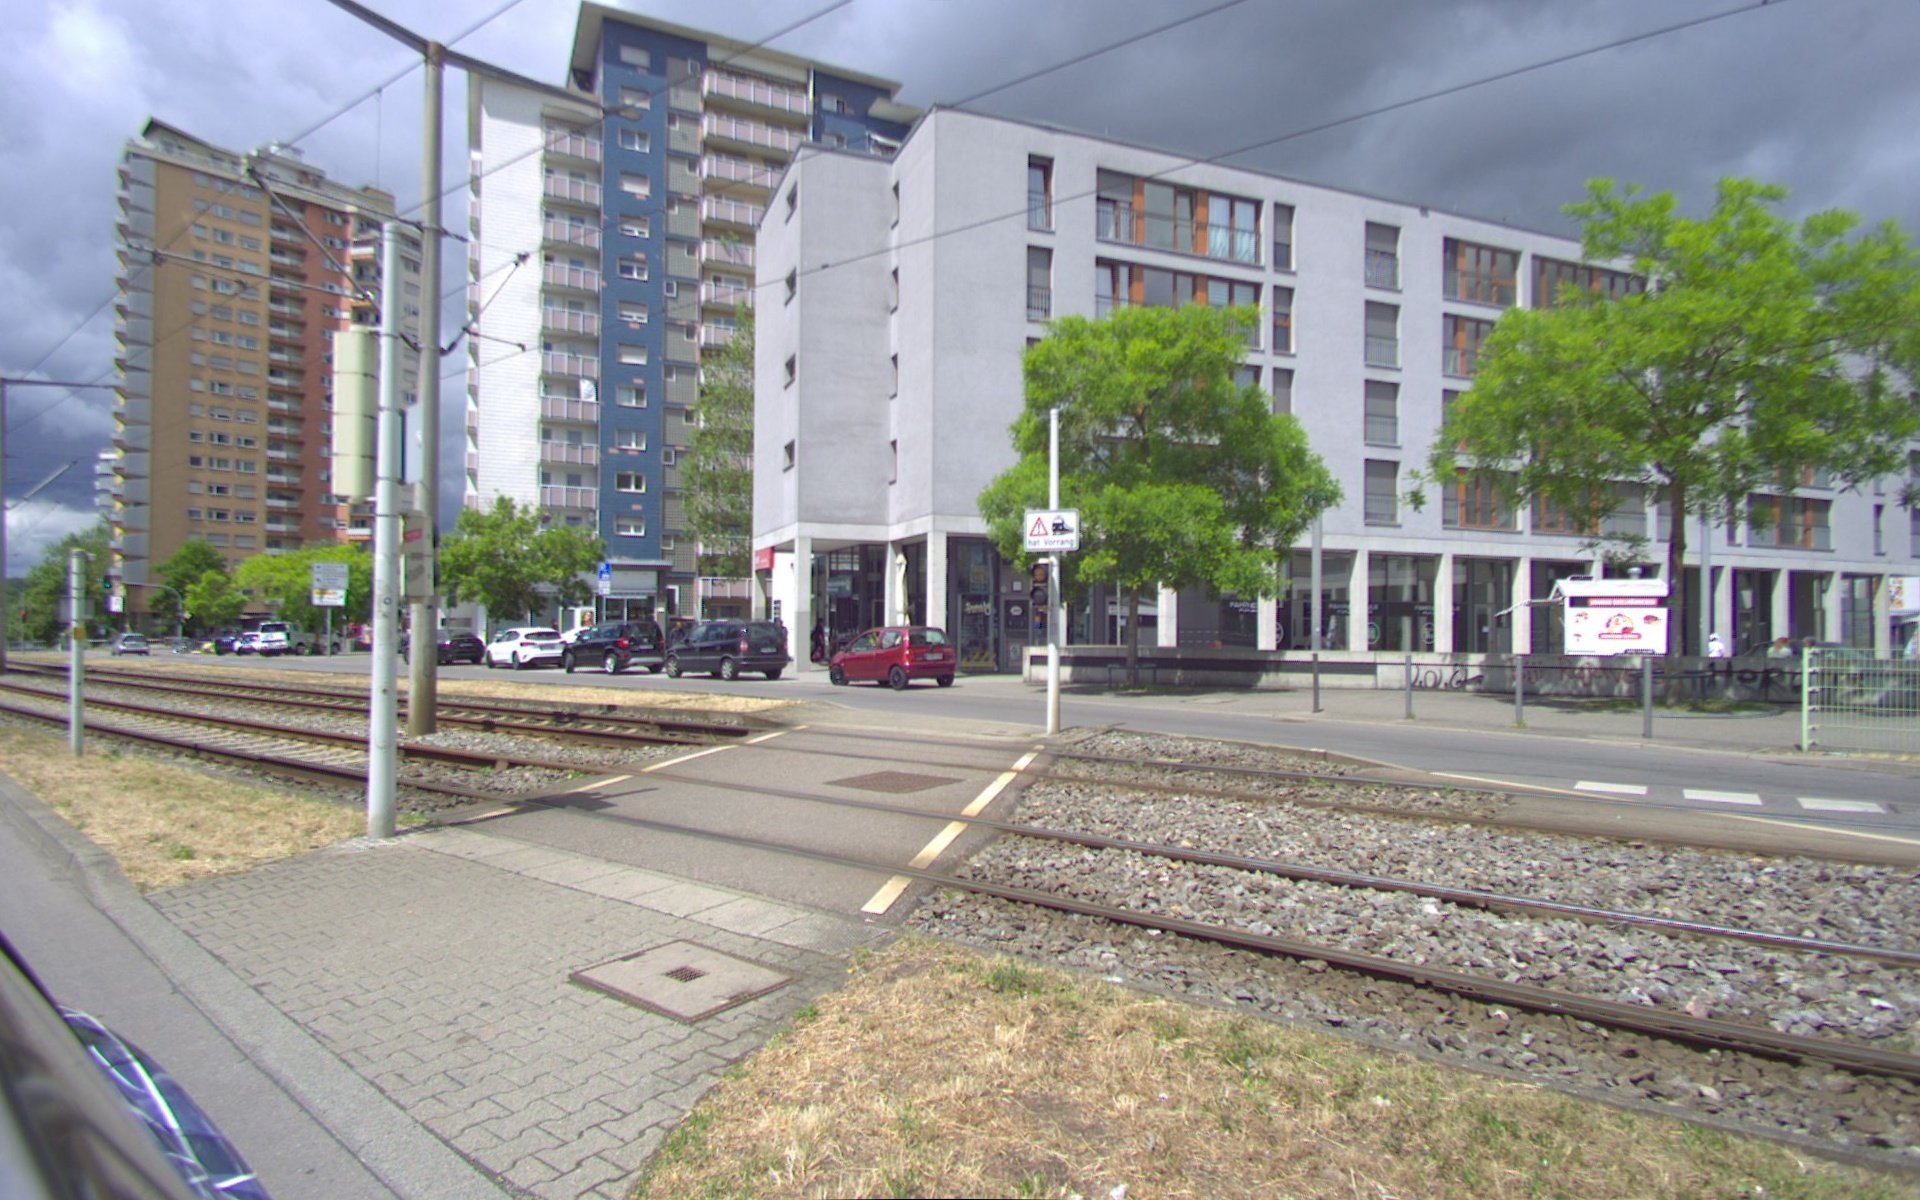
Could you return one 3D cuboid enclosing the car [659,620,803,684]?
[{"bbox_3d":[-6.448,1.468,28.325,4.100,1.660,1.971,-3,-4,43],"label":"car"}]

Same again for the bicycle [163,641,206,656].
[{"bbox_3d":[-58.009,3.623,75.724,0.704,1.074,2.401,-3,-4,41],"label":"bicycle"}]

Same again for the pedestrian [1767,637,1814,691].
[{"bbox_3d":[17.307,1.316,21.088,0.491,1.104,0.579,1,-2,-24],"label":"pedestrian"}]

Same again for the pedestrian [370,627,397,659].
[{"bbox_3d":[-28.271,2.109,49.630,0.970,1.584,0.516,0,-5,-5],"label":"pedestrian"}]

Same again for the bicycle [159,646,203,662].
[{"bbox_3d":[-55.360,3.809,71.972,0.717,1.042,2.401,-3,-2,41],"label":"bicycle"}]

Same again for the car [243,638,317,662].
[{"bbox_3d":[-41.548,3.071,61.962,1.879,1.394,4.000,0,-3,-1],"label":"car"}]

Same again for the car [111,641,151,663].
[{"bbox_3d":[-59.645,3.750,72.775,3.756,1.544,1.797,-3,-4,45],"label":"car"}]

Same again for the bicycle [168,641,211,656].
[{"bbox_3d":[-56.769,3.567,74.600,0.704,1.074,2.401,-3,-4,41],"label":"bicycle"}]

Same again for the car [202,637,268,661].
[{"bbox_3d":[-49.418,3.335,69.062,1.903,1.604,4.005,0,-3,-6],"label":"car"}]

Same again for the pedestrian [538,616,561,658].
[{"bbox_3d":[-17.944,1.624,44.235,0.843,1.806,0.605,-3,-4,40],"label":"pedestrian"}]

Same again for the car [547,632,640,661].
[{"bbox_3d":[-18.813,2.396,52.125,4.283,1.454,2.005,1,-3,-14],"label":"car"}]

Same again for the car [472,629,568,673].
[{"bbox_3d":[-15.987,1.856,36.683,1.733,1.486,4.403,3,-4,-44],"label":"car"}]

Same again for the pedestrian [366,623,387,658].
[{"bbox_3d":[-30.614,2.138,53.101,0.829,1.806,0.876,2,-4,-35],"label":"pedestrian"}]

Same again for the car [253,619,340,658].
[{"bbox_3d":[-38.160,2.239,58.358,1.879,2.173,4.762,0,-3,-1],"label":"car"}]

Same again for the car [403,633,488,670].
[{"bbox_3d":[-21.046,2.086,41.363,4.380,1.439,1.715,-2,-3,43],"label":"car"}]

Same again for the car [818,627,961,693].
[{"bbox_3d":[-1.711,1.402,23.860,1.594,1.437,3.426,3,-4,-43],"label":"car"}]

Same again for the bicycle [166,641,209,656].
[{"bbox_3d":[-57.336,3.596,75.105,0.704,1.074,2.401,-3,-4,41],"label":"bicycle"}]

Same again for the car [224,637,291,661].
[{"bbox_3d":[-45.909,3.197,66.243,1.723,1.508,3.765,0,-3,1],"label":"car"}]

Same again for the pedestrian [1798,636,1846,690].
[{"bbox_3d":[18.034,1.306,21.174,0.491,1.104,0.579,1,-2,-24],"label":"pedestrian"}]

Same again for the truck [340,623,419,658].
[{"bbox_3d":[-63.303,4.472,110.507,6.991,3.703,2.549,3,-4,-42],"label":"truck"}]

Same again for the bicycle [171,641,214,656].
[{"bbox_3d":[-56.210,3.540,74.104,0.704,1.074,2.401,-3,-4,41],"label":"bicycle"}]

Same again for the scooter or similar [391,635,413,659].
[{"bbox_3d":[-27.396,2.327,49.675,0.757,1.133,0.581,-1,-5,-4],"label":"scooter or similar"}]

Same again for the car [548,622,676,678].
[{"bbox_3d":[-11.153,1.583,32.324,4.094,1.675,1.974,-3,-2,38],"label":"car"}]
